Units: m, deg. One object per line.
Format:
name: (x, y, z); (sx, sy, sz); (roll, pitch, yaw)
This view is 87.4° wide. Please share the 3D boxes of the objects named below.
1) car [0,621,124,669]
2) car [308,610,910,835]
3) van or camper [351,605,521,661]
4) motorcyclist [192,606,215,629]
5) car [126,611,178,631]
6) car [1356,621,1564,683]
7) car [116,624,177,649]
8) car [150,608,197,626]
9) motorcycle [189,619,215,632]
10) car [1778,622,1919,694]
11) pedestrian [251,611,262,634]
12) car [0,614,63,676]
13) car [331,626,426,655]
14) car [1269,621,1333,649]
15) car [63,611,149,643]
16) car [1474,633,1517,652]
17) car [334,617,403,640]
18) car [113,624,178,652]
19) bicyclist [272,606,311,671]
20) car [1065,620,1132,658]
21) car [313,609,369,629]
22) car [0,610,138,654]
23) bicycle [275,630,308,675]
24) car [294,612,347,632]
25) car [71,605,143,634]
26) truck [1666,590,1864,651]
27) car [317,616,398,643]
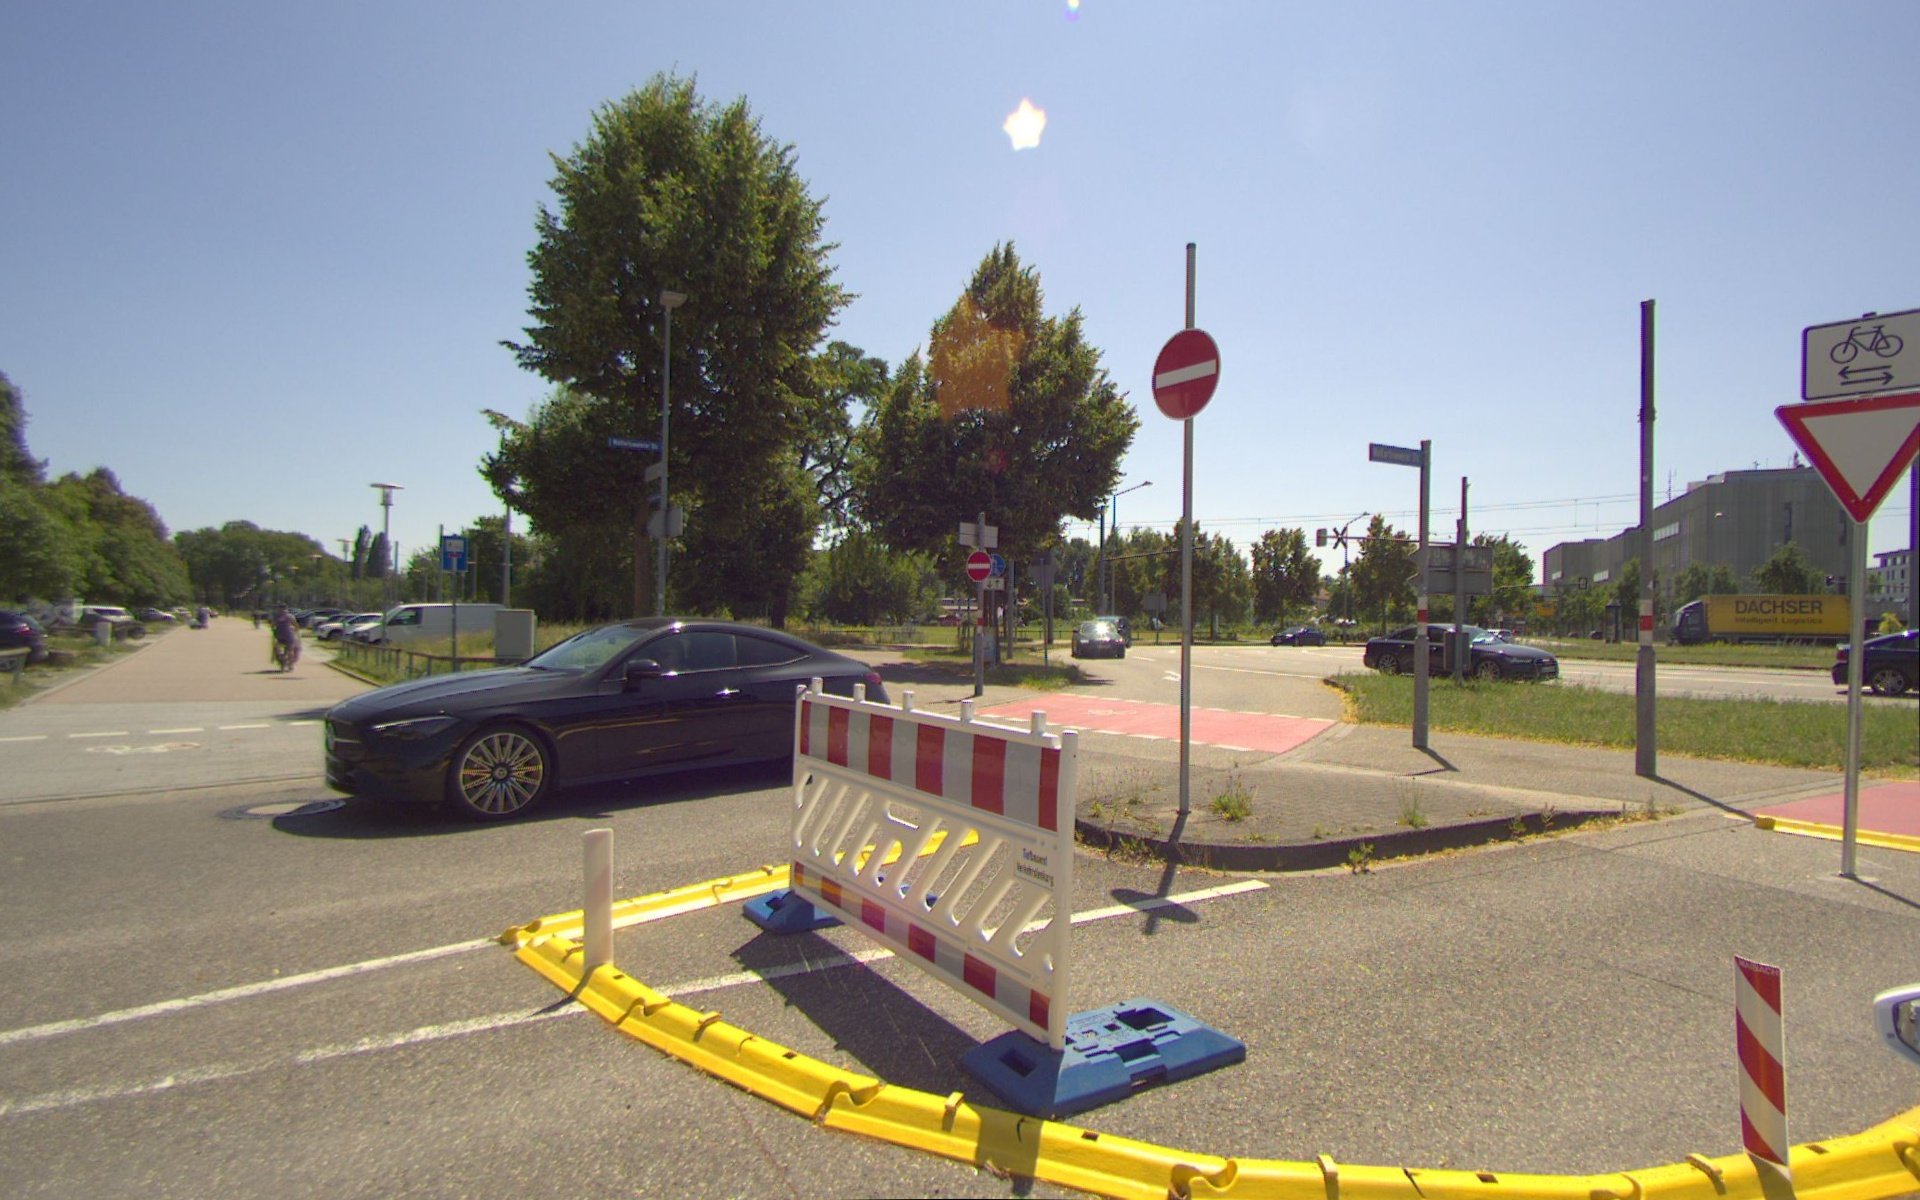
car: (-25.147, 1.218, 27.414); (3.480, 1.233, 1.343); (2, -1, -36)
car: (-2.714, 0.853, 8.661); (1.797, 1.422, 4.606); (-2, -3, 44)
van or camper: (-19.014, 1.193, 36.562); (5.225, 1.882, 1.979); (2, -1, -37)
motorcyclist: (-53.754, 1.253, 71.362); (1.243, 1.630, 1.426); (2, -1, -35)
car: (-85.208, 2.190, 106.006); (3.953, 2.040, 1.984); (2, -1, -30)
car: (12.789, 1.303, 26.033); (1.973, 1.468, 4.621); (1, -2, -25)
car: (-46.041, 2.051, 56.878); (2.499, 1.376, 1.075); (1, -1, -30)
car: (-91.352, 1.983, 116.700); (3.953, 2.040, 1.984); (2, -1, -30)
motorcycle: (-54.036, 1.813, 71.642); (1.358, 0.934, 3.194); (2, -1, -35)
car: (20.564, 1.219, 21.324); (1.983, 1.468, 4.704); (1, -2, -39)
pedestrian: (-52.336, 1.677, 74.719); (0.666, 1.686, 1.326); (2, -1, -36)
car: (-22.174, 0.955, 21.848); (3.772, 1.344, 1.643); (2, -1, -36)
car: (-25.550, 1.783, 44.166); (3.480, 1.233, 1.343); (2, -1, -36)
car: (22.933, 2.324, 67.433); (4.914, 1.456, 1.836); (-3, 3, -40)
car: (-38.326, 1.218, 45.133); (2.716, 1.375, 1.163); (2, -1, -30)
car: (42.915, 3.373, 80.426); (1.801, 1.473, 4.994); (0, -1, 43)
car: (-33.057, 1.610, 56.233); (3.264, 1.243, 1.407); (2, -1, -31)
car: (-53.067, 2.484, 65.460); (3.206, 1.727, 1.492); (2, -1, -40)
bicyclist: (-17.633, 1.009, 26.510); (0.707, 1.659, 0.967); (4, -2, -30)
car: (5.551, 1.541, 40.705); (1.690, 1.430, 4.615); (1, -1, -5)
car: (-41.746, 1.295, 67.813); (3.189, 1.298, 1.346); (2, -1, -30)
car: (-31.679, 1.138, 35.611); (3.772, 1.344, 1.642); (4, -2, -36)
bicycle: (-17.632, 1.368, 26.508); (0.544, 1.127, 1.664); (4, -2, -29)
car: (-50.802, 1.759, 79.835); (3.504, 1.483, 1.534); (2, -1, -35)
car: (-41.825, 0.978, 49.312); (2.499, 1.376, 1.075); (1, -1, -30)
truck: (50.947, 1.252, 63.966); (9.429, 3.707, 2.707); (0, -1, 22)
car: (-29.769, 1.477, 49.739); (3.342, 1.298, 1.346); (2, -1, -29)
